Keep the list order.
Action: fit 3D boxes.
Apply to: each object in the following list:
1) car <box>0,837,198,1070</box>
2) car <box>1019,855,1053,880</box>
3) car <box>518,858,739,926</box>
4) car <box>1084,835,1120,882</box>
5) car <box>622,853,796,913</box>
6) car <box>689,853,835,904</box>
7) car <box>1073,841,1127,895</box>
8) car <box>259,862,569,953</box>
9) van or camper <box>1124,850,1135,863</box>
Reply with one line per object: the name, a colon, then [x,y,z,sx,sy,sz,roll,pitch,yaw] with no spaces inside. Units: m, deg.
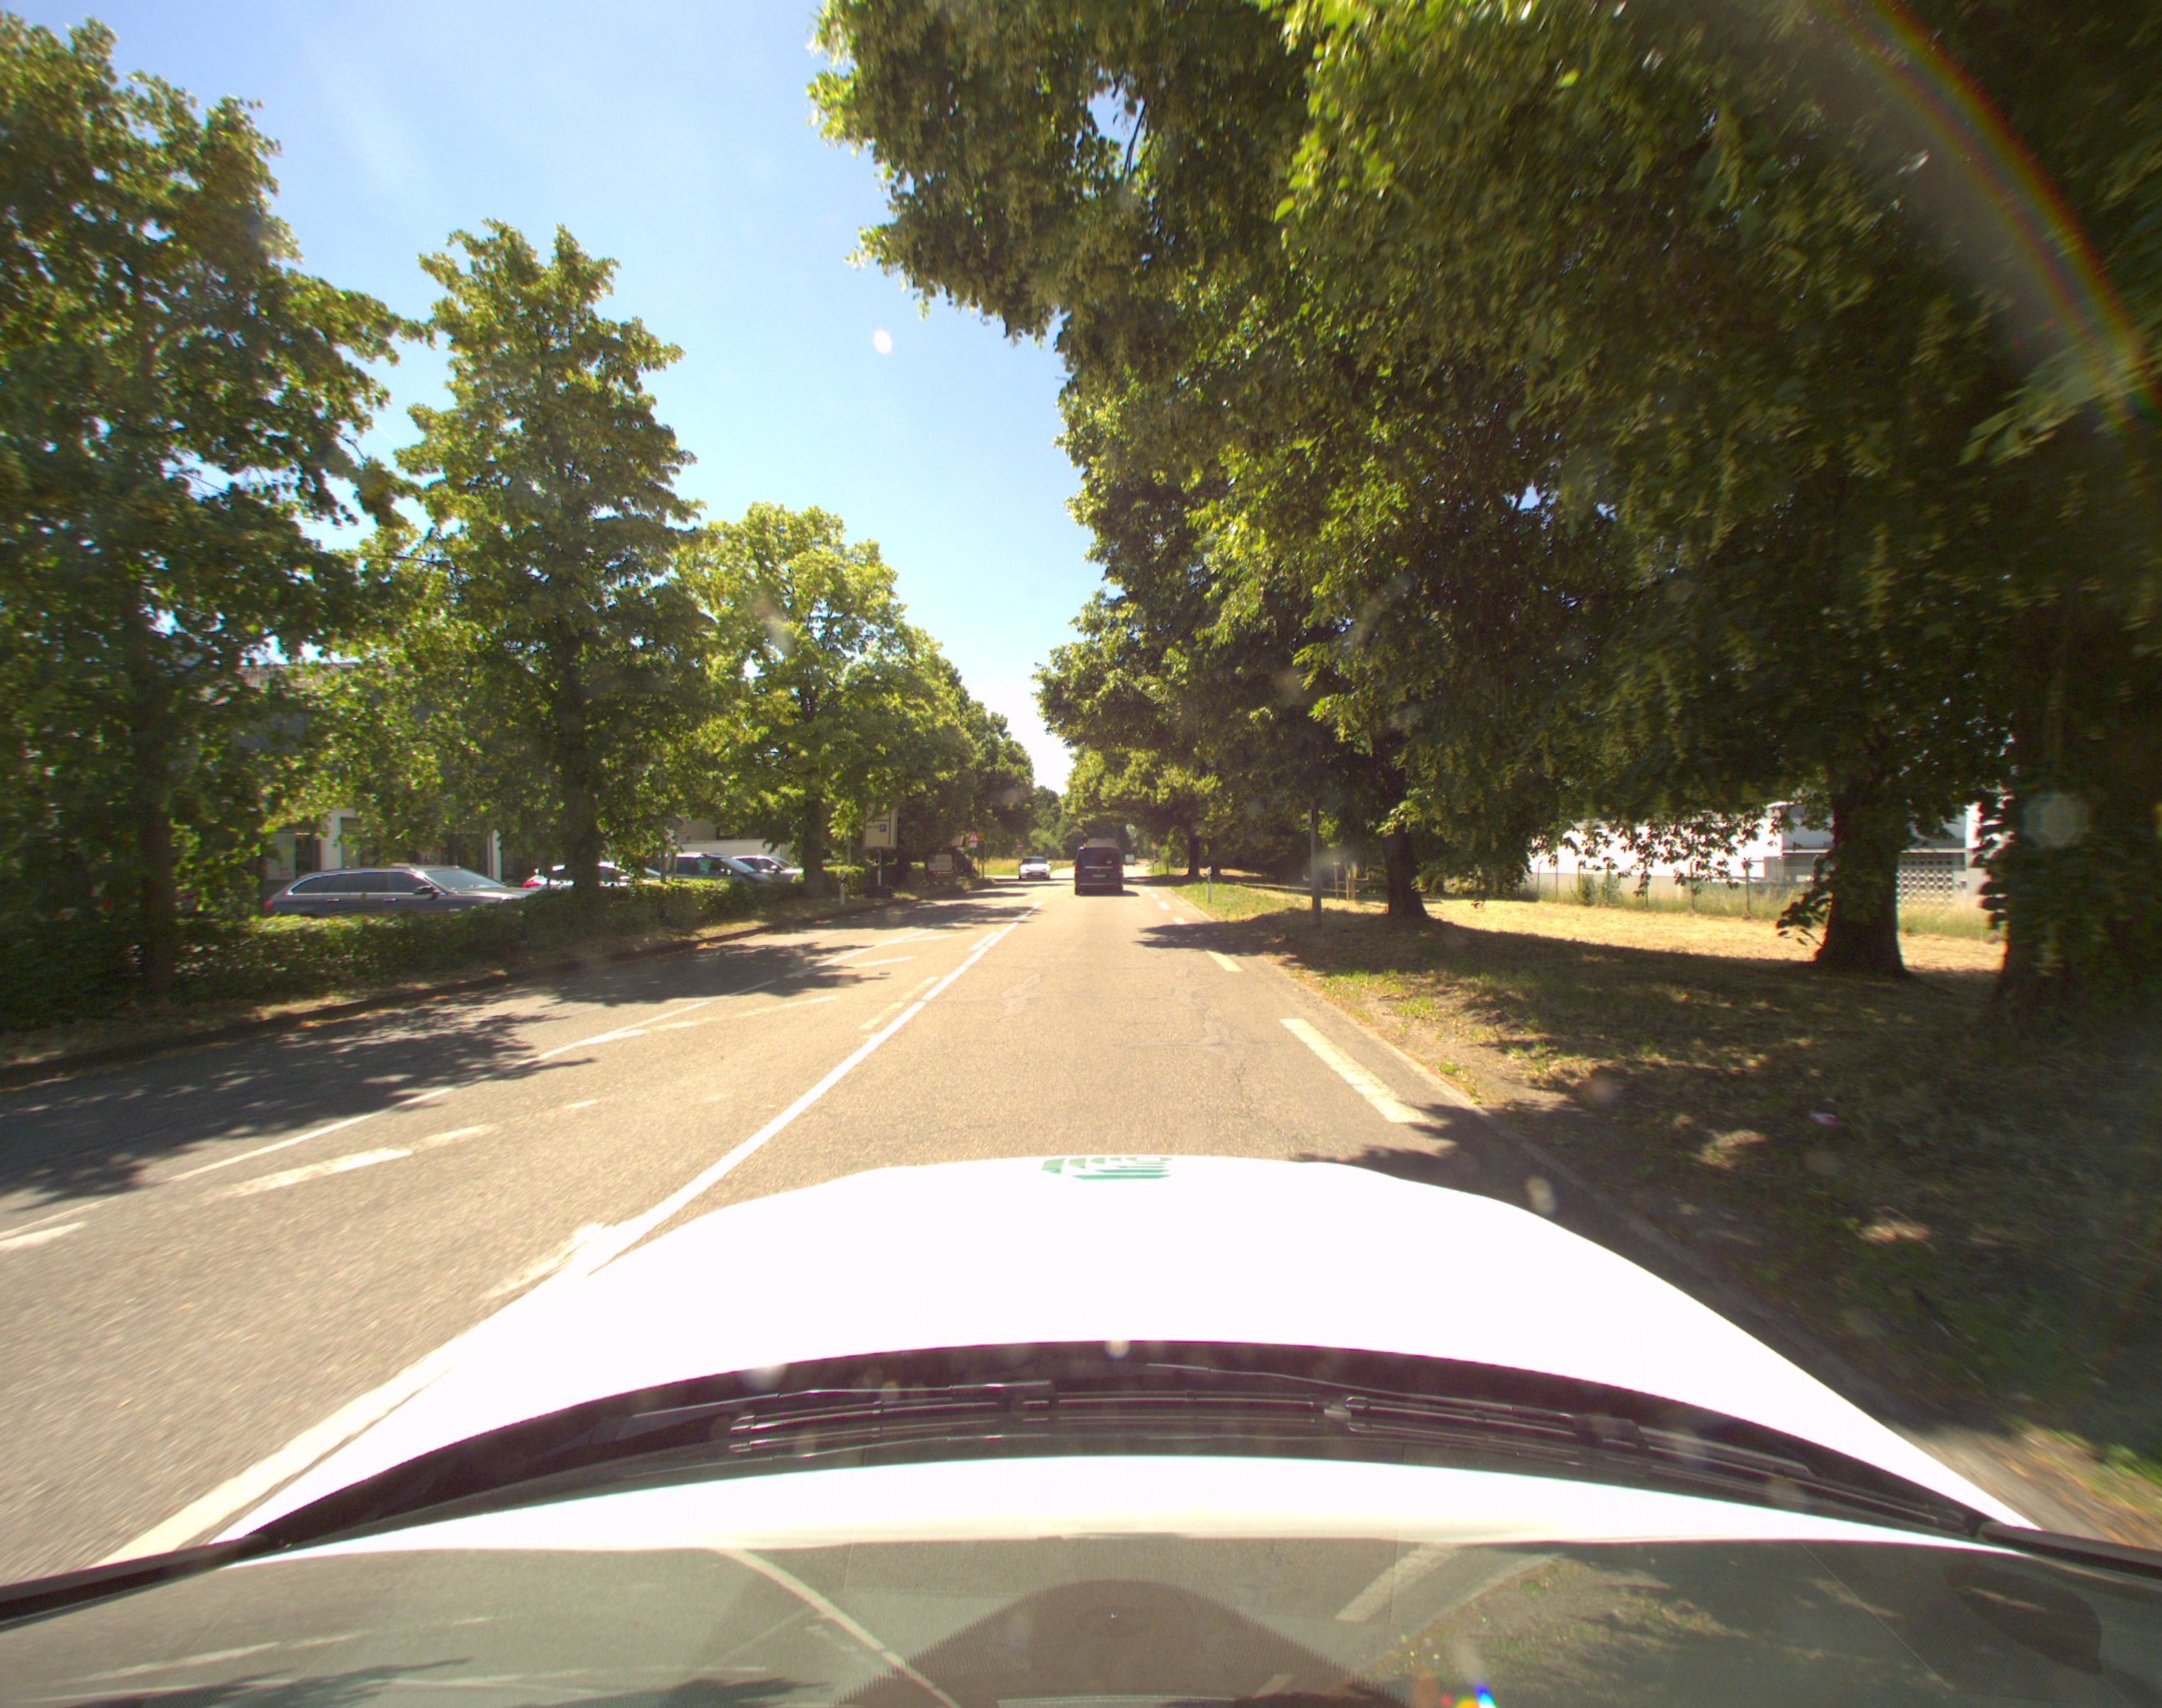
car: [-11.378,0.877,7.477,4.344,1.980,1.904,-1,-1,-1]
car: [-2.969,0.841,53.094,2.090,1.588,4.468,0,0,-4]
car: [-11.153,0.914,20.308,4.386,1.620,1.895,0,0,0]
car: [1.233,0.277,49.784,2.071,2.702,4.665,0,0,0]
car: [-11.374,0.867,25.177,4.386,1.776,2.072,0,0,0]
car: [-11.298,0.849,29.079,4.386,1.776,2.072,0,0,0]
car: [0.796,0.529,32.491,1.986,1.952,5.007,0,0,2]
car: [-11.989,0.922,14.872,4.015,1.525,1.933,0,0,0]
van or camper: [11.542,0.625,194.295,2.621,2.929,5.210,0,-1,2]
